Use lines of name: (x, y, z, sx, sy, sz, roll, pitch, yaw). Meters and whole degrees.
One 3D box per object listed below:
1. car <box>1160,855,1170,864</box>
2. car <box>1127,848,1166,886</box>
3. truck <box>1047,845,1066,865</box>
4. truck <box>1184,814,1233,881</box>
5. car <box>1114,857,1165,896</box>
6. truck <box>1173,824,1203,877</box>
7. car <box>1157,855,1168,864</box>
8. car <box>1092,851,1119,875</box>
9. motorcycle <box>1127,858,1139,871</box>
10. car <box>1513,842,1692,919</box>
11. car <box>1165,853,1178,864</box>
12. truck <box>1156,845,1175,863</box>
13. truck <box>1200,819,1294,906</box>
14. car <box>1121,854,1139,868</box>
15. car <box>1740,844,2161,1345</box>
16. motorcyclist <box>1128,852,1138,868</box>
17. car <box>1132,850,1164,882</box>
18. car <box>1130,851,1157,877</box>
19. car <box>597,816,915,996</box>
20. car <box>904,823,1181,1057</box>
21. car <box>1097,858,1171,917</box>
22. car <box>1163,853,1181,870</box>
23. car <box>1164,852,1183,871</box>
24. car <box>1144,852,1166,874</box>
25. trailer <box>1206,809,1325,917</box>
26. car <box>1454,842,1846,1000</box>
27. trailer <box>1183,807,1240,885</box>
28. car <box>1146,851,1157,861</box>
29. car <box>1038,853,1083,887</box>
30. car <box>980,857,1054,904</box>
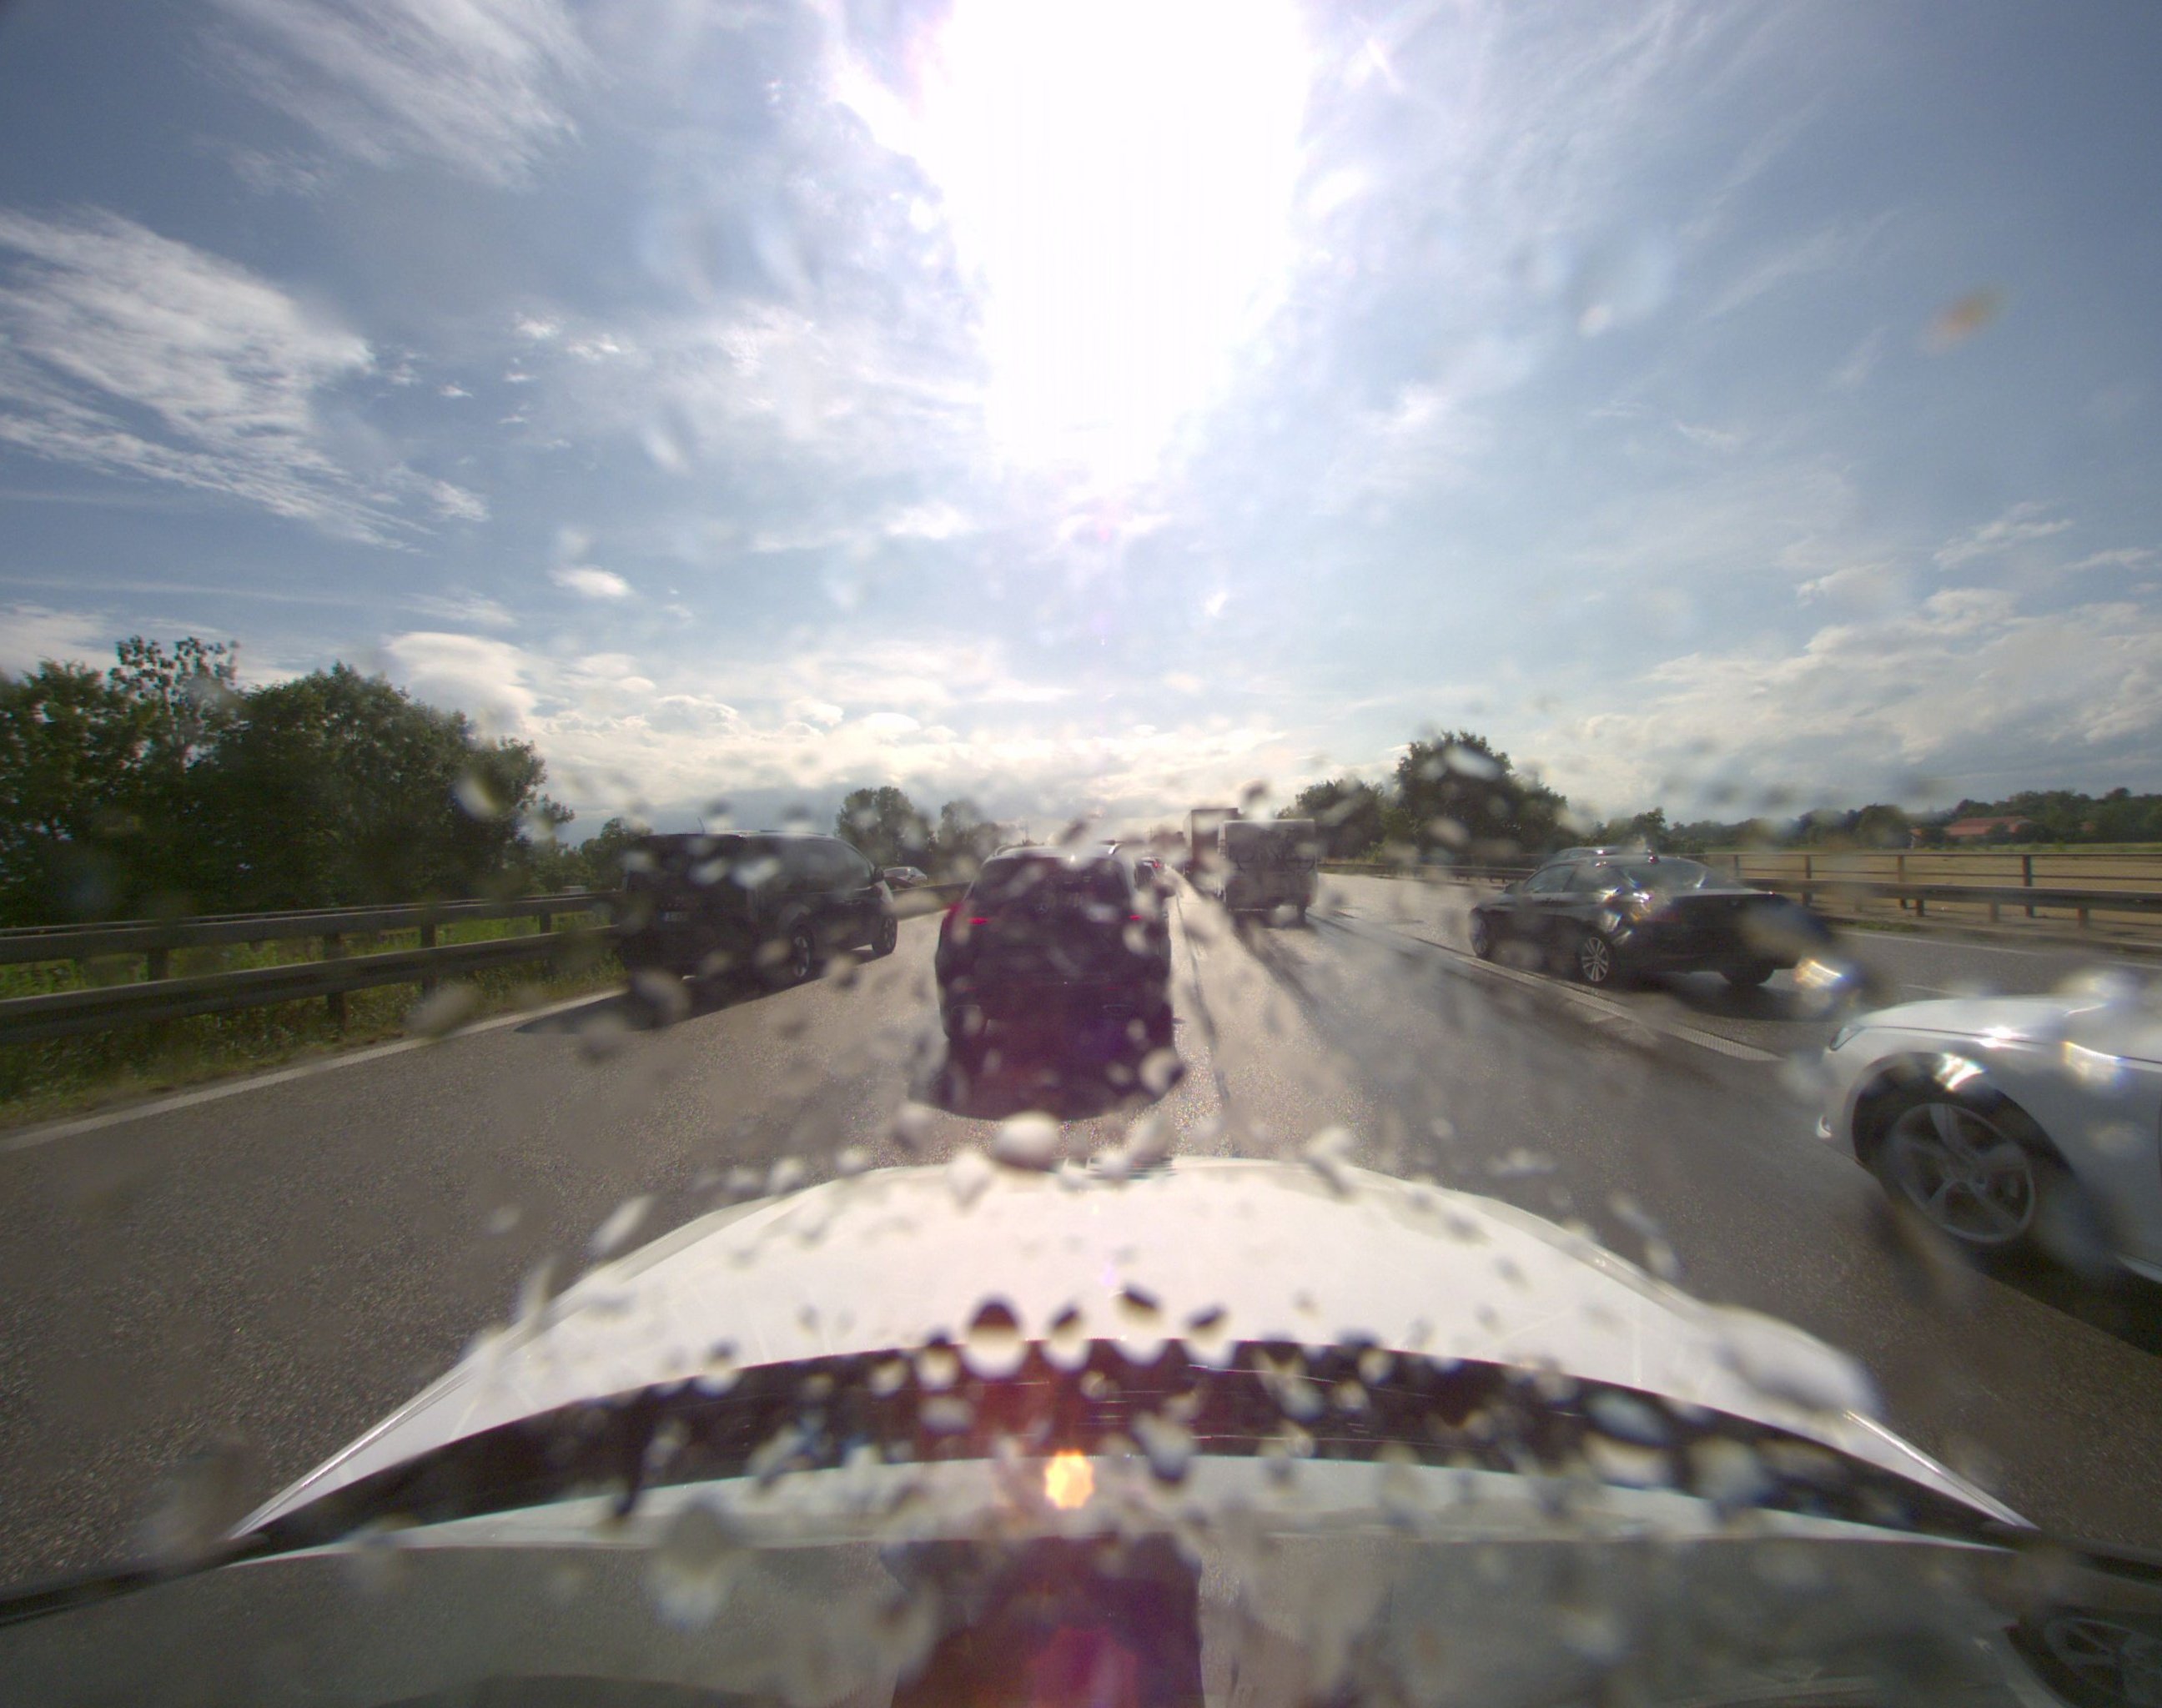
car: (18.182, 1.166, 176.751, 1.868, 1.760, 4.003, -1, -1, 3)
car: (3.623, 0.688, 44.552, 1.983, 2.014, 4.007, -1, 0, 6)
truck: (-4.980, 0.230, 165.505, 2.848, 3.821, 7.889, -1, -1, 5)
truck: (8.389, -0.373, 53.745, 2.978, 4.166, 5.251, -1, -1, 8)
car: (2.327, 0.852, 31.648, 1.797, 1.407, 4.007, -1, -1, 6)
truck: (10.371, -0.298, 79.494, 2.490, 4.830, 7.552, -1, -1, 5)
car: (15.527, 1.060, 156.027, 1.868, 1.760, 4.003, -1, -1, 3)
car: (2.171, 0.790, 71.822, 1.983, 2.013, 4.007, 2, 0, 6)
motorcycle: (5.416, 1.051, 84.697, 1.068, 1.271, 2.694, -1, 0, 5)
car: (11.826, 0.563, 18.822, 1.839, 1.568, 4.006, -1, -1, 6)
car: (15.154, 0.708, 136.494, 1.868, 1.760, 4.003, -1, -1, 3)
truck: (20.397, 0.051, 197.859, 3.828, 4.017, 11.225, -1, -1, 2)
truck: (5.152, 0.267, 26.089, 2.362, 2.477, 5.765, -1, -1, 6)
car: (6.147, 0.902, 102.415, 1.983, 1.616, 4.007, 2, 0, 6)
car: (4.062, 0.679, 1.557, 1.822, 1.425, 4.507, -2, 0, -2)
motorcyclist: (5.403, 0.613, 84.693, 1.059, 1.718, 0.786, -1, -1, 5)
car: (4.574, 0.767, 55.152, 1.983, 2.013, 4.007, 2, 0, 6)
car: (5.097, 0.800, 65.687, 1.983, 2.014, 4.007, -1, 0, 6)
car: (-4.254, 0.609, 11.887, 1.983, 2.013, 5.279, -1, 0, 7)
car: (-0.073, 0.651, 8.088, 1.984, 1.661, 4.413, -1, -1, 6)
car: (1.521, 0.841, 22.090, 1.748, 1.387, 3.952, -1, 0, 7)
car: (11.026, 0.910, 98.502, 1.983, 2.013, 4.007, 2, 0, 6)
car: (10.018, 0.834, 88.436, 1.983, 2.014, 4.007, 0, 0, 6)
car: (7.219, 0.859, 78.904, 1.983, 2.014, 4.007, 0, 0, 6)
trailer: (4.755, 0.234, 22.087, 2.362, 2.483, 6.533, -1, -1, 6)
car: (6.479, 0.666, 10.010, 1.842, 1.464, 4.255, -2, -1, 0)
trailer: (7.633, -0.391, 48.327, 2.990, 4.166, 8.554, -1, 0, 8)
car: (12.277, 0.368, 141.912, 1.868, 1.760, 4.003, -1, -1, 3)
car: (-1.054, 0.855, 44.271, 1.984, 1.720, 4.005, -1, -1, 4)
car: (-2.179, 0.881, 28.852, 1.748, 1.516, 4.216, -1, 0, 7)
